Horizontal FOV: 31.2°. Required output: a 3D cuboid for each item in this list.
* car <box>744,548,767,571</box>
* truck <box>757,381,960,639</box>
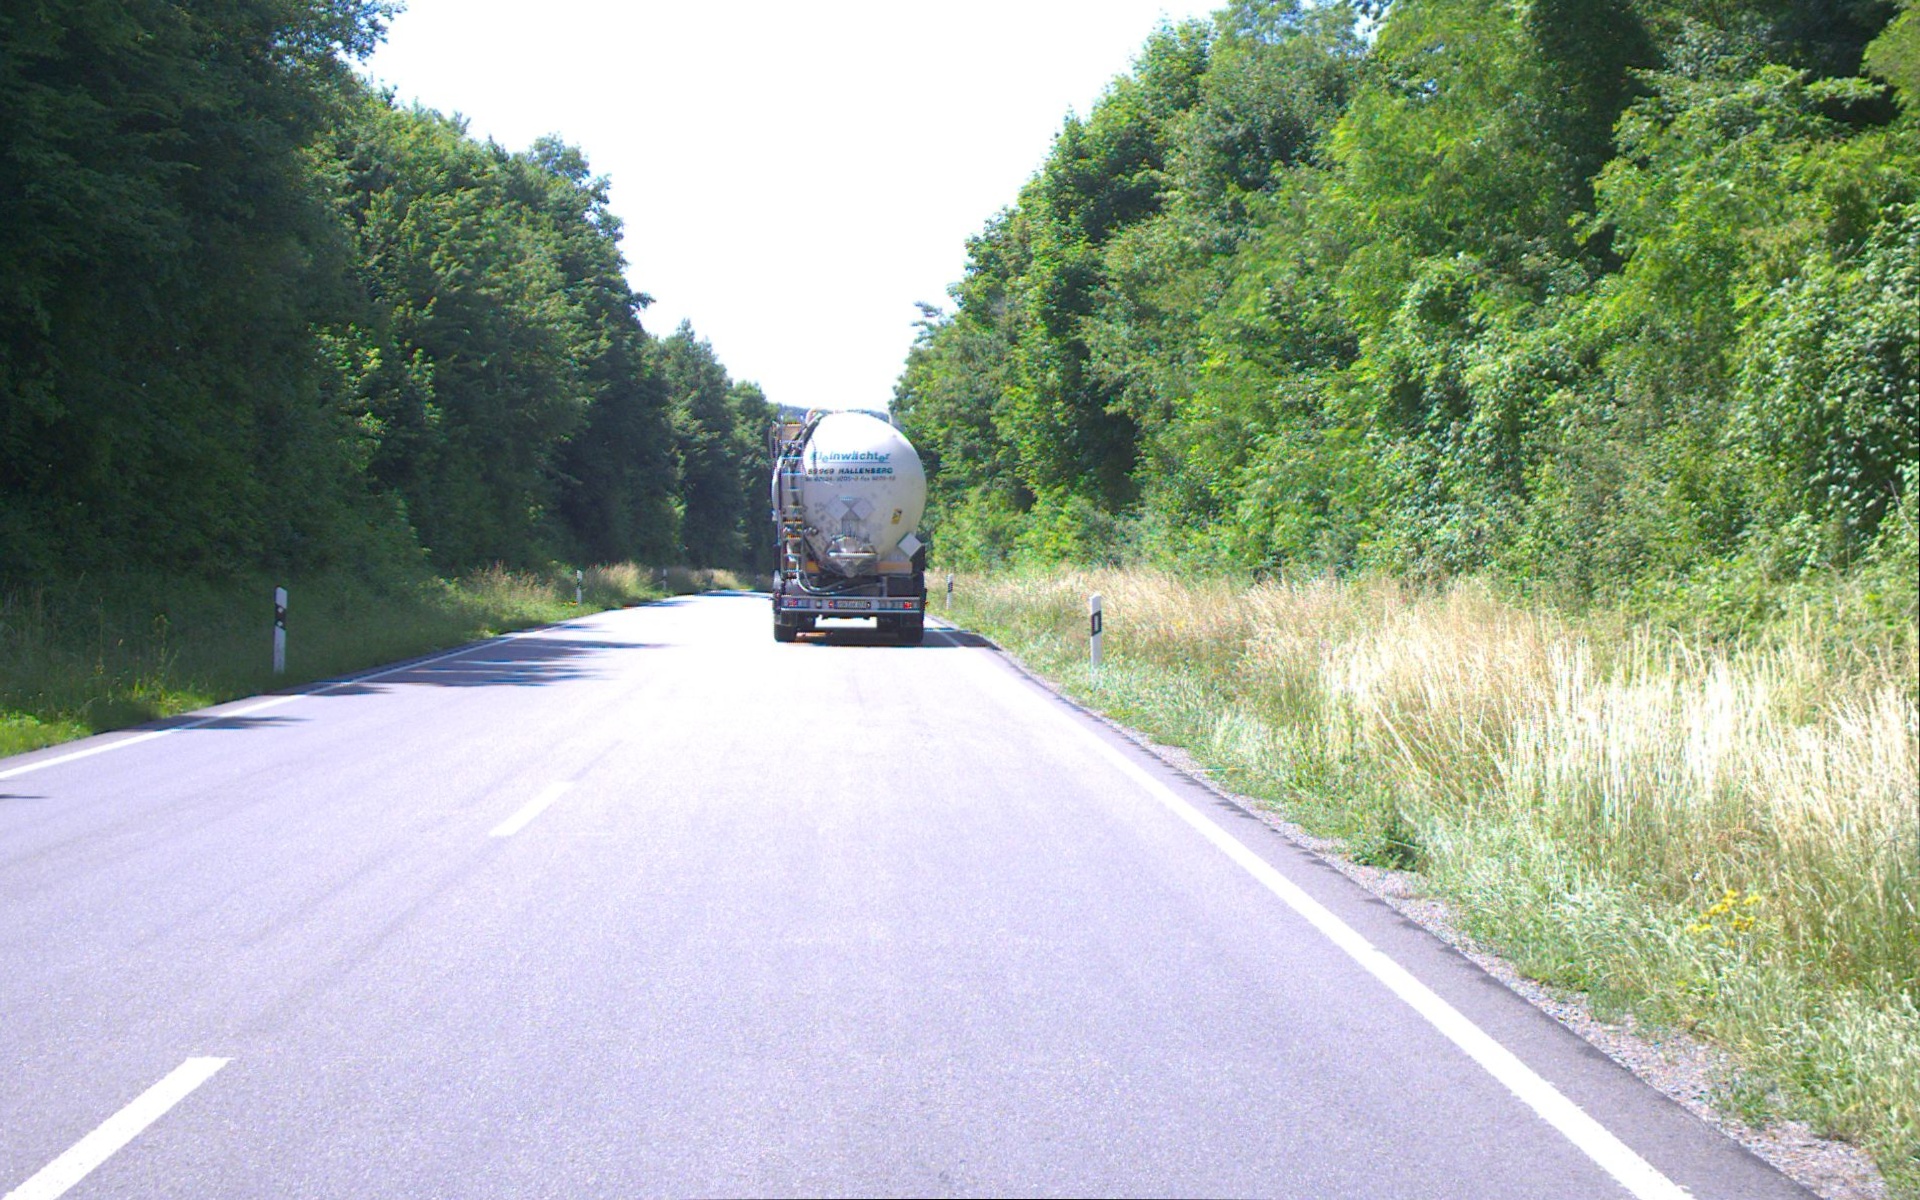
[{"bbox_3d":[-14.264,-2.830,239.939,1.512,1.587,3.793,1,1,-2],"label":"car"},{"bbox_3d":[-2.090,-1.476,62.923,3.049,3.984,15.638,3,0,-3],"label":"truck"}]
